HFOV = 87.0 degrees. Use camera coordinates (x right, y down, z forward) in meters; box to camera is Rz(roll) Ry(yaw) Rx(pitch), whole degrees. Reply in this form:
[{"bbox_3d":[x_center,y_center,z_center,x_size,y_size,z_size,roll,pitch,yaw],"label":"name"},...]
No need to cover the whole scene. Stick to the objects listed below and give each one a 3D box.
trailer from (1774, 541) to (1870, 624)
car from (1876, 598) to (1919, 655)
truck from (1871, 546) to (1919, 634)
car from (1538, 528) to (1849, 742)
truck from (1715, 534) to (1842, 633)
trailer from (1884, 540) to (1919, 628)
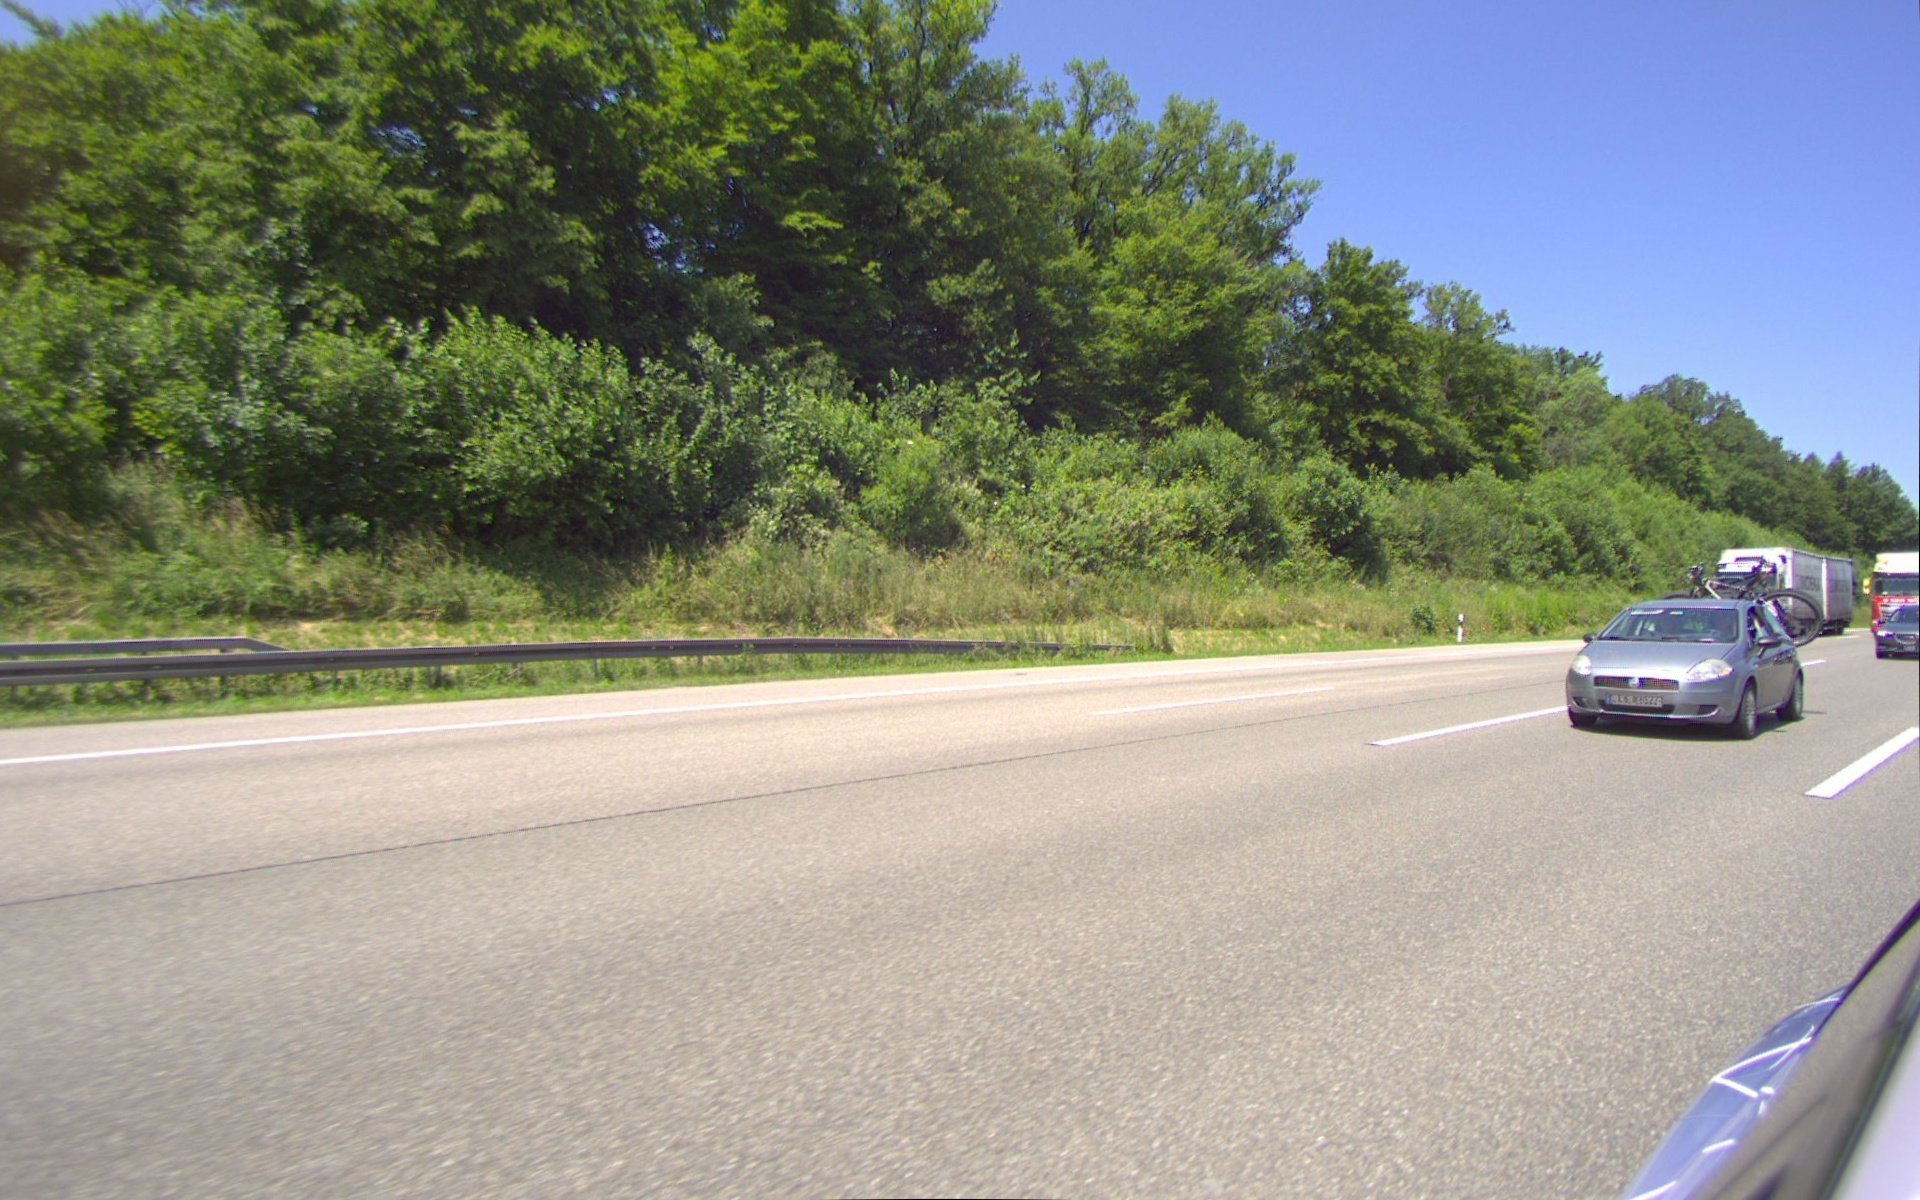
[{"bbox_3d":[45.643,-0.806,53.479,8.234,4.122,2.583,1,-1,-41],"label":"trailer"},{"bbox_3d":[26.741,0.693,27.475,5.129,1.471,1.971,1,-1,-39],"label":"car"},{"bbox_3d":[46.645,-0.376,48.874,7.406,4.032,3.016,2,-1,-41],"label":"truck"},{"bbox_3d":[8.907,0.339,12.129,4.699,2.080,1.965,0,0,-41],"label":"car"},{"bbox_3d":[38.642,-0.616,47.583,10.775,4.214,2.727,1,-1,-41],"label":"truck"},{"bbox_3d":[51.779,-0.622,53.215,14.585,4.195,2.925,2,0,-41],"label":"trailer"}]
